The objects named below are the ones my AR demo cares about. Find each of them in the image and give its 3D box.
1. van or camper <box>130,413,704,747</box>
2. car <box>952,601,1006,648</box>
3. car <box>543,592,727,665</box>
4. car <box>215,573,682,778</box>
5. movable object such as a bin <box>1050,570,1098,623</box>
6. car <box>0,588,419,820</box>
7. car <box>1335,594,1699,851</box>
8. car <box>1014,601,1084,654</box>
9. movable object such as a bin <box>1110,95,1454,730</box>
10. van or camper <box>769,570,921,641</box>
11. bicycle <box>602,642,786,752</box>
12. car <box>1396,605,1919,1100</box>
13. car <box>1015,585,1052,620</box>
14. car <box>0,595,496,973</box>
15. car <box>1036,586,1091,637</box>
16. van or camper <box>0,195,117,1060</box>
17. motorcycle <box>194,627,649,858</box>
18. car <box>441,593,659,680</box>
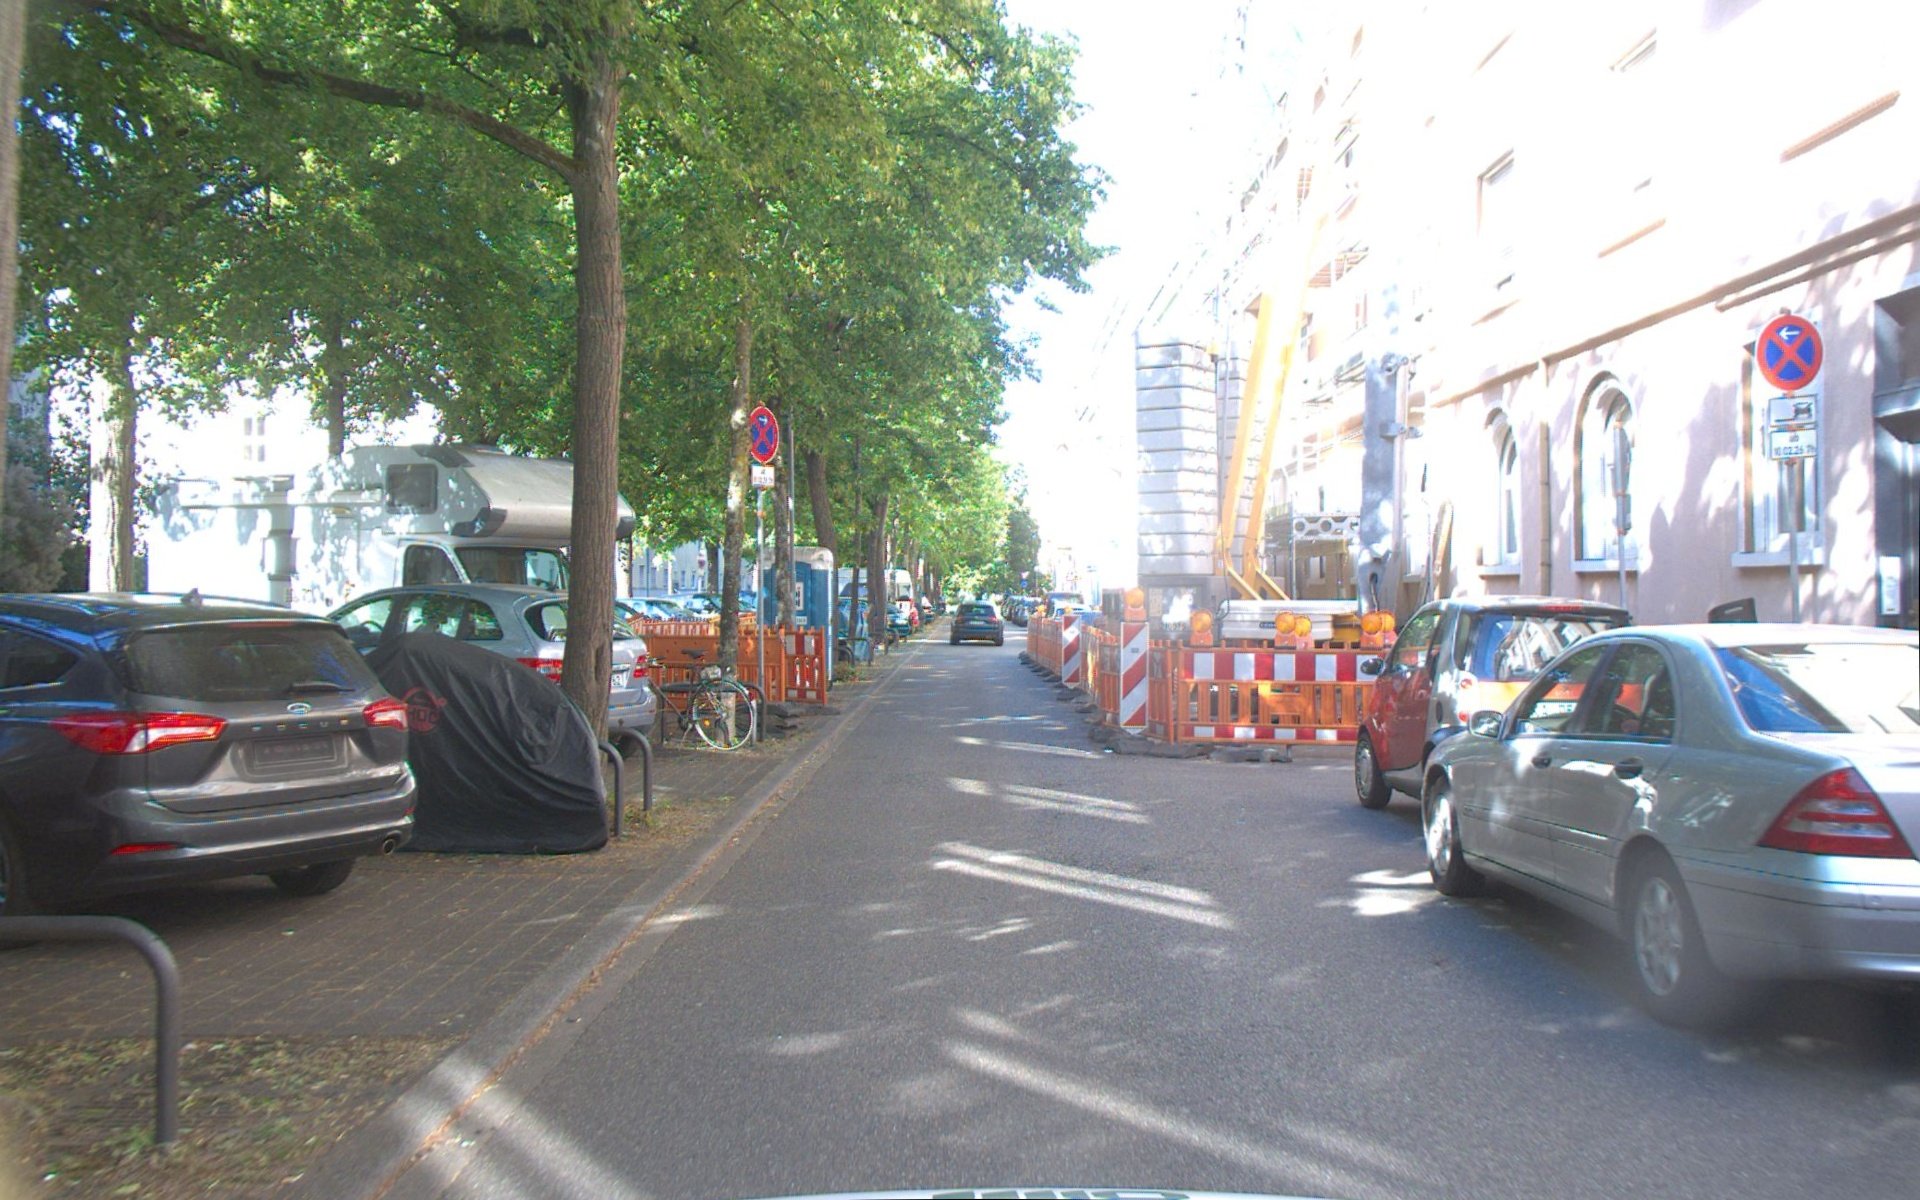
[{"bbox_3d":[-6.333,-0.187,19.019,6.530,3.297,2.491,-1,0,29],"label":"van or camper"},{"bbox_3d":[0.615,0.804,56.257,1.760,1.530,3.585,-1,0,-1],"label":"car"},{"bbox_3d":[-7.734,0.659,39.363,3.910,1.635,1.997,-1,0,28],"label":"car"},{"bbox_3d":[-4.657,0.615,15.050,3.875,1.657,1.821,0,0,26],"label":"car"},{"bbox_3d":[5.085,-0.150,74.173,1.760,2.272,4.605,-1,0,-1],"label":"movable object such as a bin"},{"bbox_3d":[-6.077,0.673,12.532,3.885,1.500,1.817,0,0,35],"label":"car"},{"bbox_3d":[3.715,0.746,11.486,1.559,1.557,2.780,0,0,-1],"label":"car"},{"bbox_3d":[2.515,0.762,47.384,1.760,1.409,3.585,-1,0,-1],"label":"car"},{"bbox_3d":[3.875,-2.038,19.838,3.416,6.878,2.362,0,0,33],"label":"movable object such as a bin"},{"bbox_3d":[-4.247,0.207,60.691,5.237,2.518,2.288,0,0,32],"label":"van or camper"},{"bbox_3d":[-2.632,0.938,16.292,1.858,1.024,0.430,0,0,24],"label":"bicycle"},{"bbox_3d":[3.494,0.767,7.183,1.953,1.434,4.500,1,0,-1],"label":"car"},{"bbox_3d":[3.873,0.115,87.983,1.760,1.832,3.585,-1,0,-1],"label":"car"},{"bbox_3d":[-4.350,0.704,8.022,3.877,1.439,1.821,0,0,28],"label":"car"},{"bbox_3d":[3.835,0.414,61.750,1.760,1.832,3.585,-1,0,-1],"label":"car"},{"bbox_3d":[-5.836,0.110,5.912,5.758,2.683,2.251,-1,0,30],"label":"van or camper"},{"bbox_3d":[-3.177,0.809,9.845,2.495,1.280,0.763,0,0,8],"label":"motorcycle"},{"bbox_3d":[-8.212,0.695,33.120,3.910,1.635,1.997,-1,0,28],"label":"car"}]
